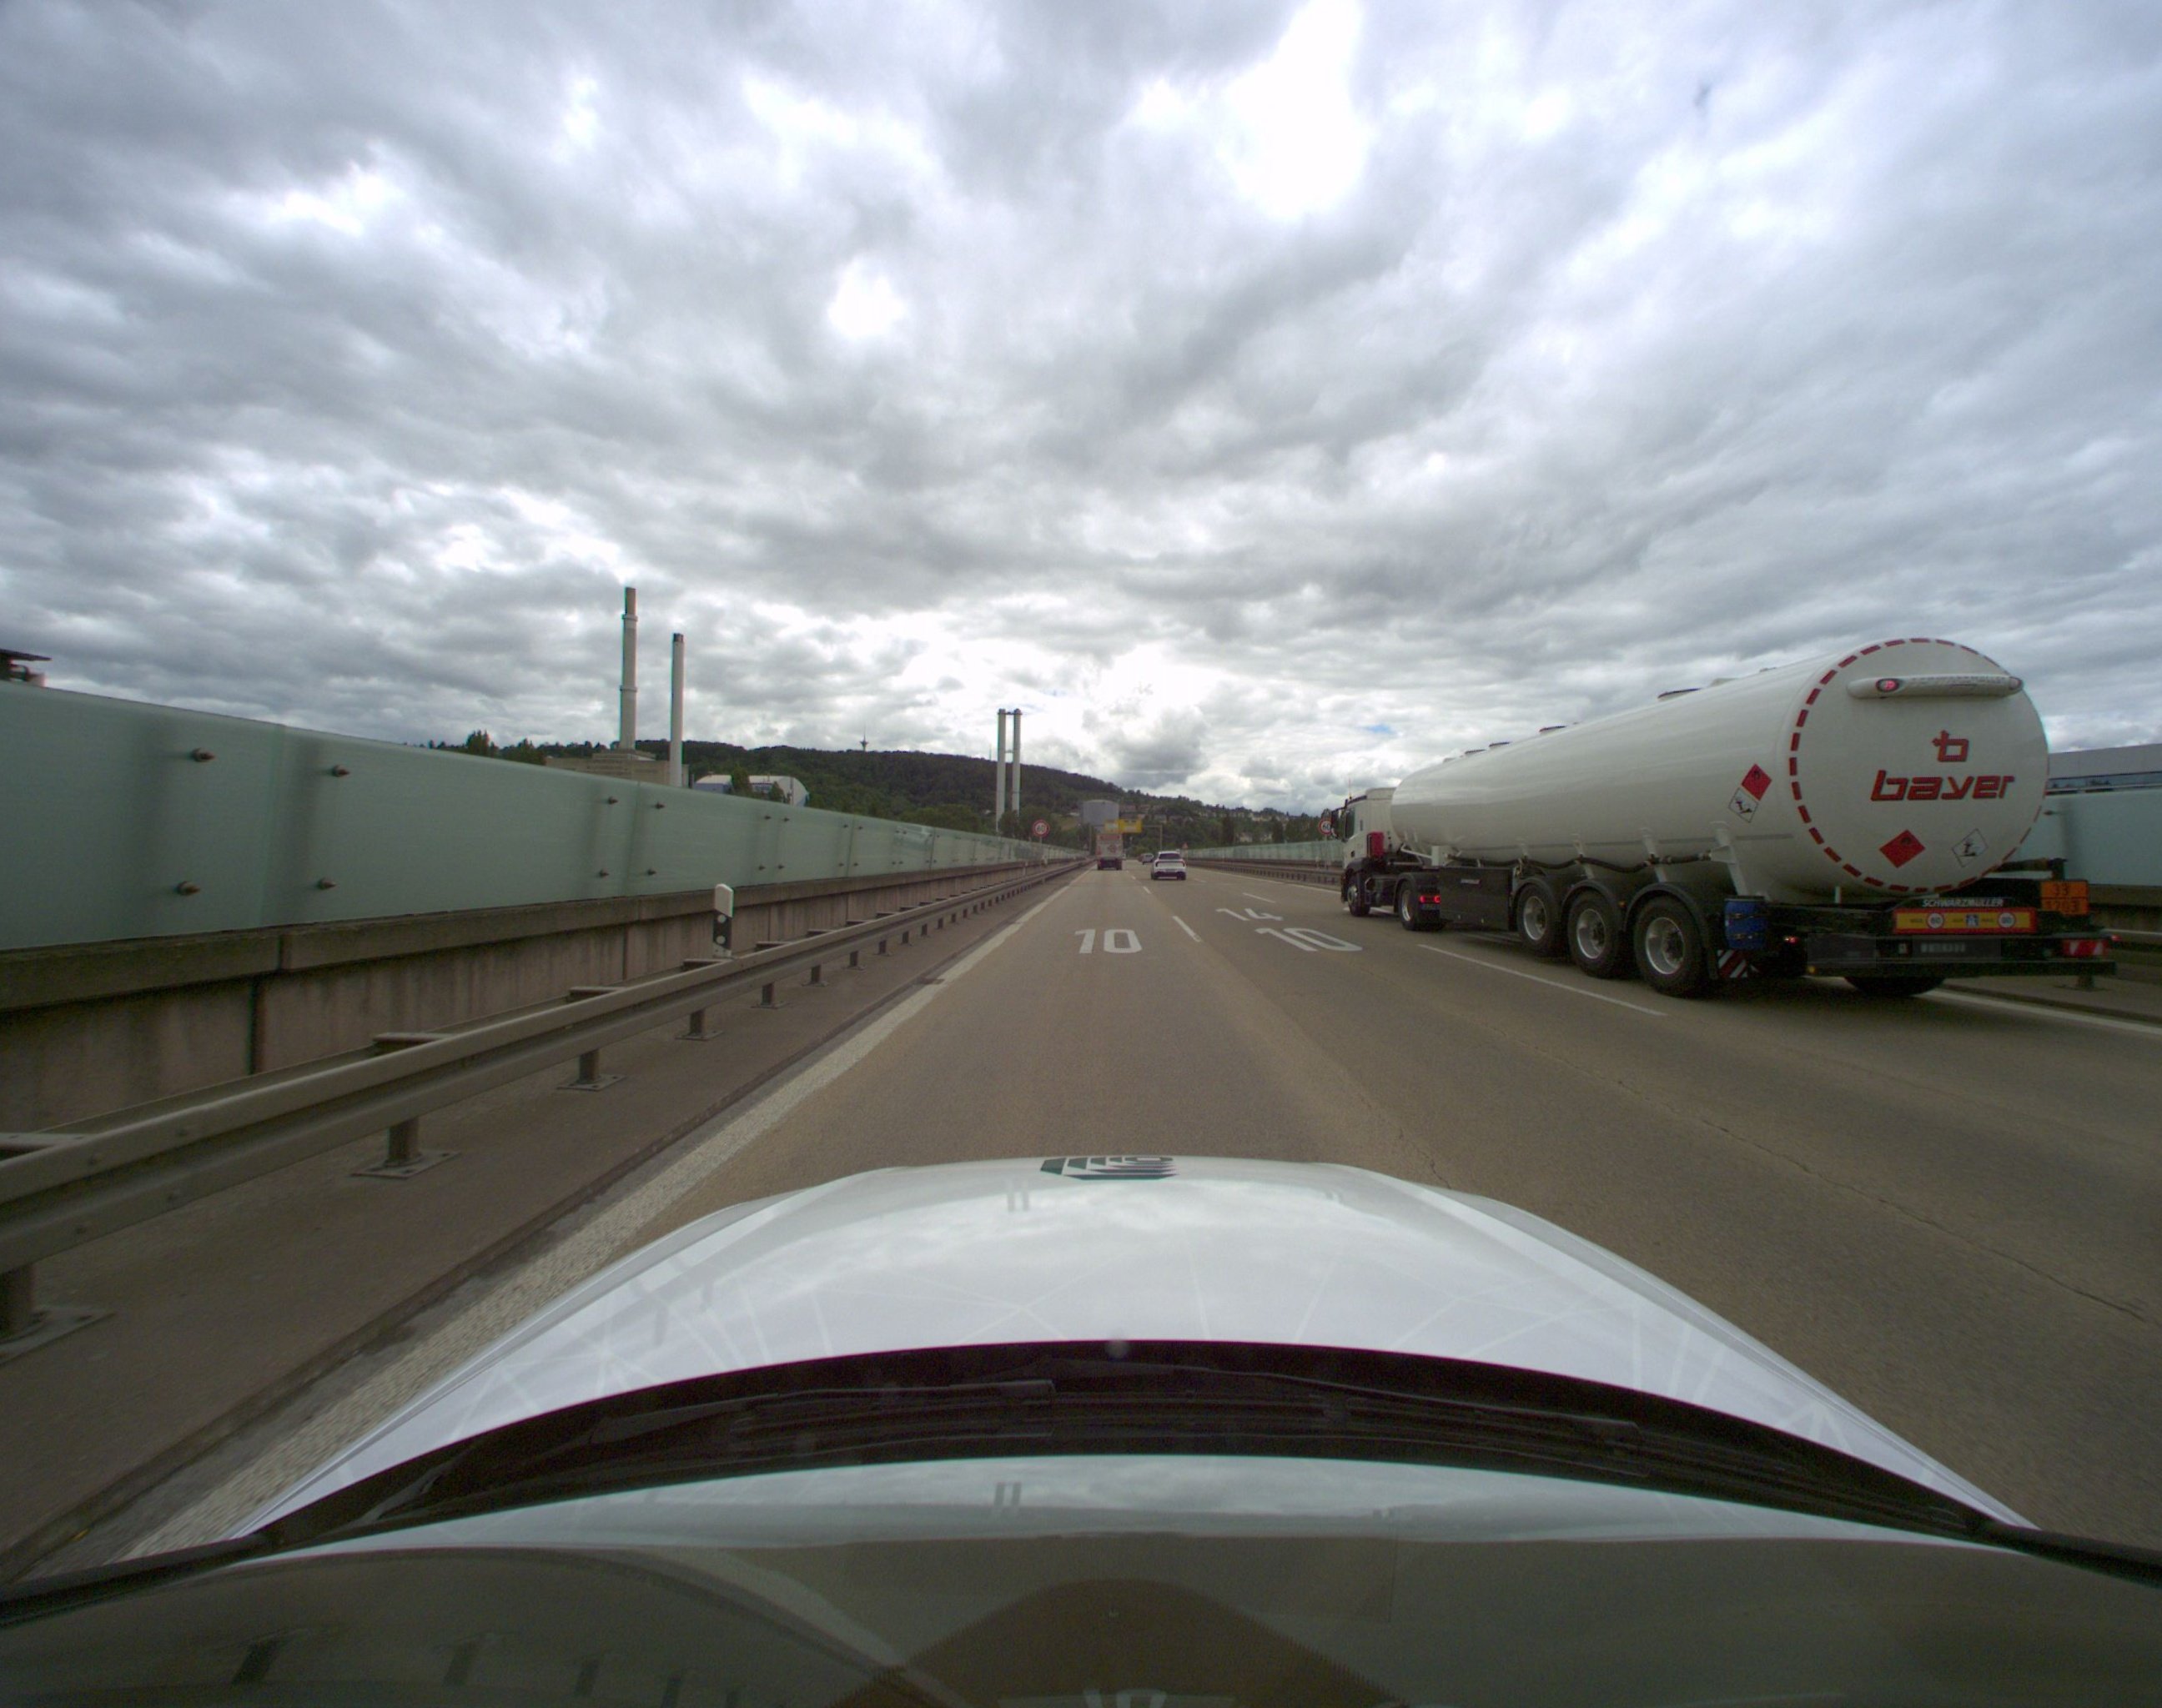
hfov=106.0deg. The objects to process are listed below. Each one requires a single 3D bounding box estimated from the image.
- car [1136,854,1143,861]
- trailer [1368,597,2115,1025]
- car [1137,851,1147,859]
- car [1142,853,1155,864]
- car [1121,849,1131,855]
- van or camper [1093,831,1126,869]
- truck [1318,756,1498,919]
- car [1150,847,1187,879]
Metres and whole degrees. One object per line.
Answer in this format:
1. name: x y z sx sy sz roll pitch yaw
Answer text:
1. car: 17.139 1.031 239.365 1.916 1.785 4.116 0 0 3
2. trailer: 7.451 -0.332 12.381 2.640 3.543 11.226 0 0 2
3. car: 11.636 0.166 154.559 1.914 1.434 4.119 0 0 5
4. car: 10.462 0.667 127.014 1.916 1.785 4.116 0 0 3
5. car: 14.081 -0.668 256.290 2.457 1.979 5.176 0 0 11
6. van or camper: 2.907 -0.384 81.168 3.109 3.579 8.557 0 0 3
7. truck: 7.781 -0.361 20.046 2.620 3.514 4.907 0 0 2
8. car: 5.130 0.505 48.136 1.916 1.785 4.116 0 0 3
